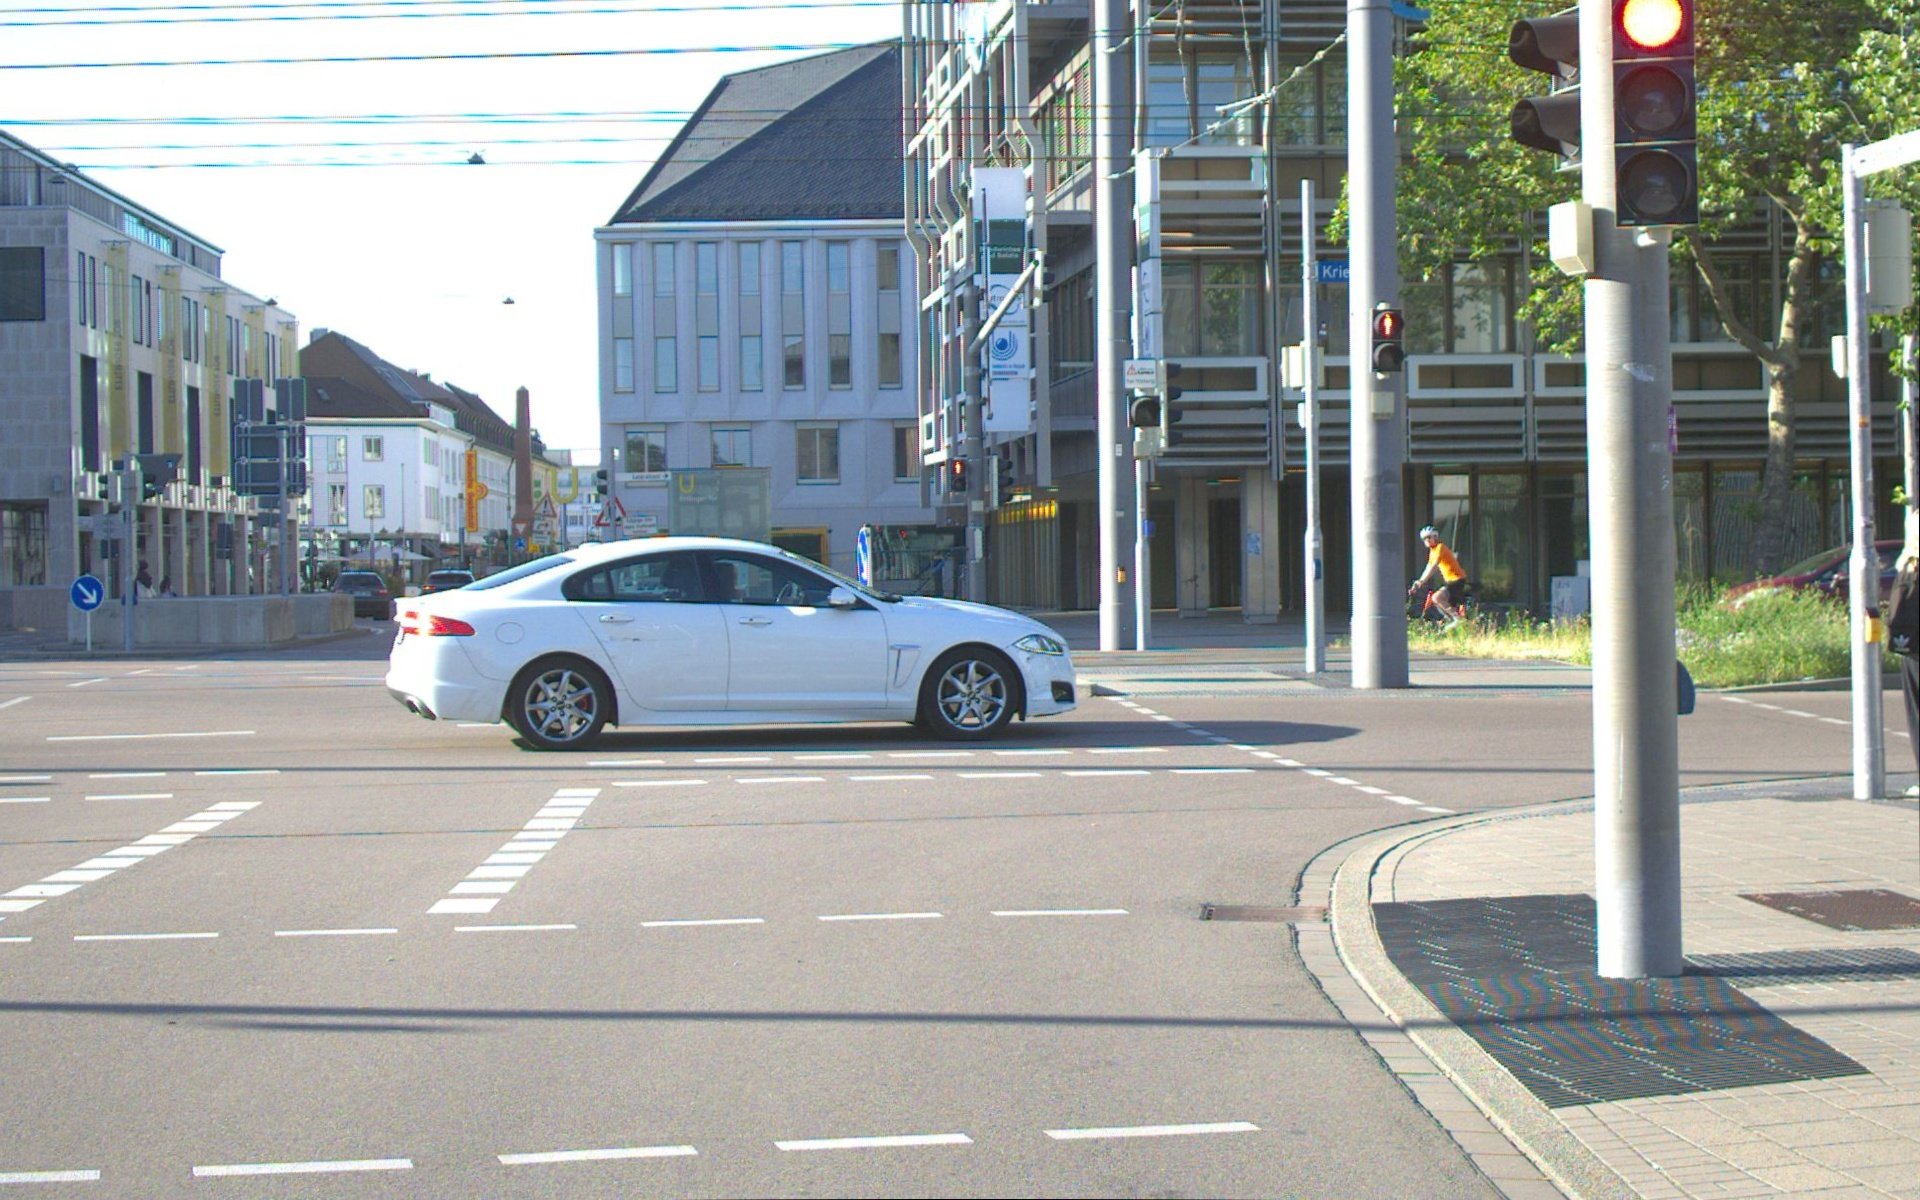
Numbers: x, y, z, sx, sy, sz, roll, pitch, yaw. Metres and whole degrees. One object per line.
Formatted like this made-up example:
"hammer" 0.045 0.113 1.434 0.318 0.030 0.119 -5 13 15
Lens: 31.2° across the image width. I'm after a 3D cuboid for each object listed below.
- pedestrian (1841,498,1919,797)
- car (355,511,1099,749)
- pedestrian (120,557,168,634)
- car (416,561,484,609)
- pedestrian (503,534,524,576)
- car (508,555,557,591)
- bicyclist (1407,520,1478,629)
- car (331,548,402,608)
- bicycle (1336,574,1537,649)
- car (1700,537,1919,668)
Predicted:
"pedestrian" 5.357 0.244 18.913 0.765 1.608 0.874 -1 1 -2
"car" -1.723 0.173 24.735 5.082 1.559 2.001 -1 1 -12
"pedestrian" -19.059 -0.117 80.303 0.899 1.776 0.808 -1 1 -1
"car" -16.014 -0.479 108.078 1.658 1.453 3.542 -1 1 -1
"pedestrian" -21.391 -2.154 164.685 0.910 1.958 0.823 1 0 -1
"car" -18.132 -1.154 145.899 1.658 1.453 3.542 -1 1 -1
"bicyclist" 6.614 -0.356 47.126 0.822 1.469 0.652 -1 1 -4
"car" -17.253 -0.652 100.026 1.819 1.678 4.001 -1 1 -7
"bicycle" 6.517 0.151 47.119 2.568 0.972 1.047 -1 1 -3
"car" 12.389 0.000 46.415 4.287 1.678 1.826 -1 1 -11
